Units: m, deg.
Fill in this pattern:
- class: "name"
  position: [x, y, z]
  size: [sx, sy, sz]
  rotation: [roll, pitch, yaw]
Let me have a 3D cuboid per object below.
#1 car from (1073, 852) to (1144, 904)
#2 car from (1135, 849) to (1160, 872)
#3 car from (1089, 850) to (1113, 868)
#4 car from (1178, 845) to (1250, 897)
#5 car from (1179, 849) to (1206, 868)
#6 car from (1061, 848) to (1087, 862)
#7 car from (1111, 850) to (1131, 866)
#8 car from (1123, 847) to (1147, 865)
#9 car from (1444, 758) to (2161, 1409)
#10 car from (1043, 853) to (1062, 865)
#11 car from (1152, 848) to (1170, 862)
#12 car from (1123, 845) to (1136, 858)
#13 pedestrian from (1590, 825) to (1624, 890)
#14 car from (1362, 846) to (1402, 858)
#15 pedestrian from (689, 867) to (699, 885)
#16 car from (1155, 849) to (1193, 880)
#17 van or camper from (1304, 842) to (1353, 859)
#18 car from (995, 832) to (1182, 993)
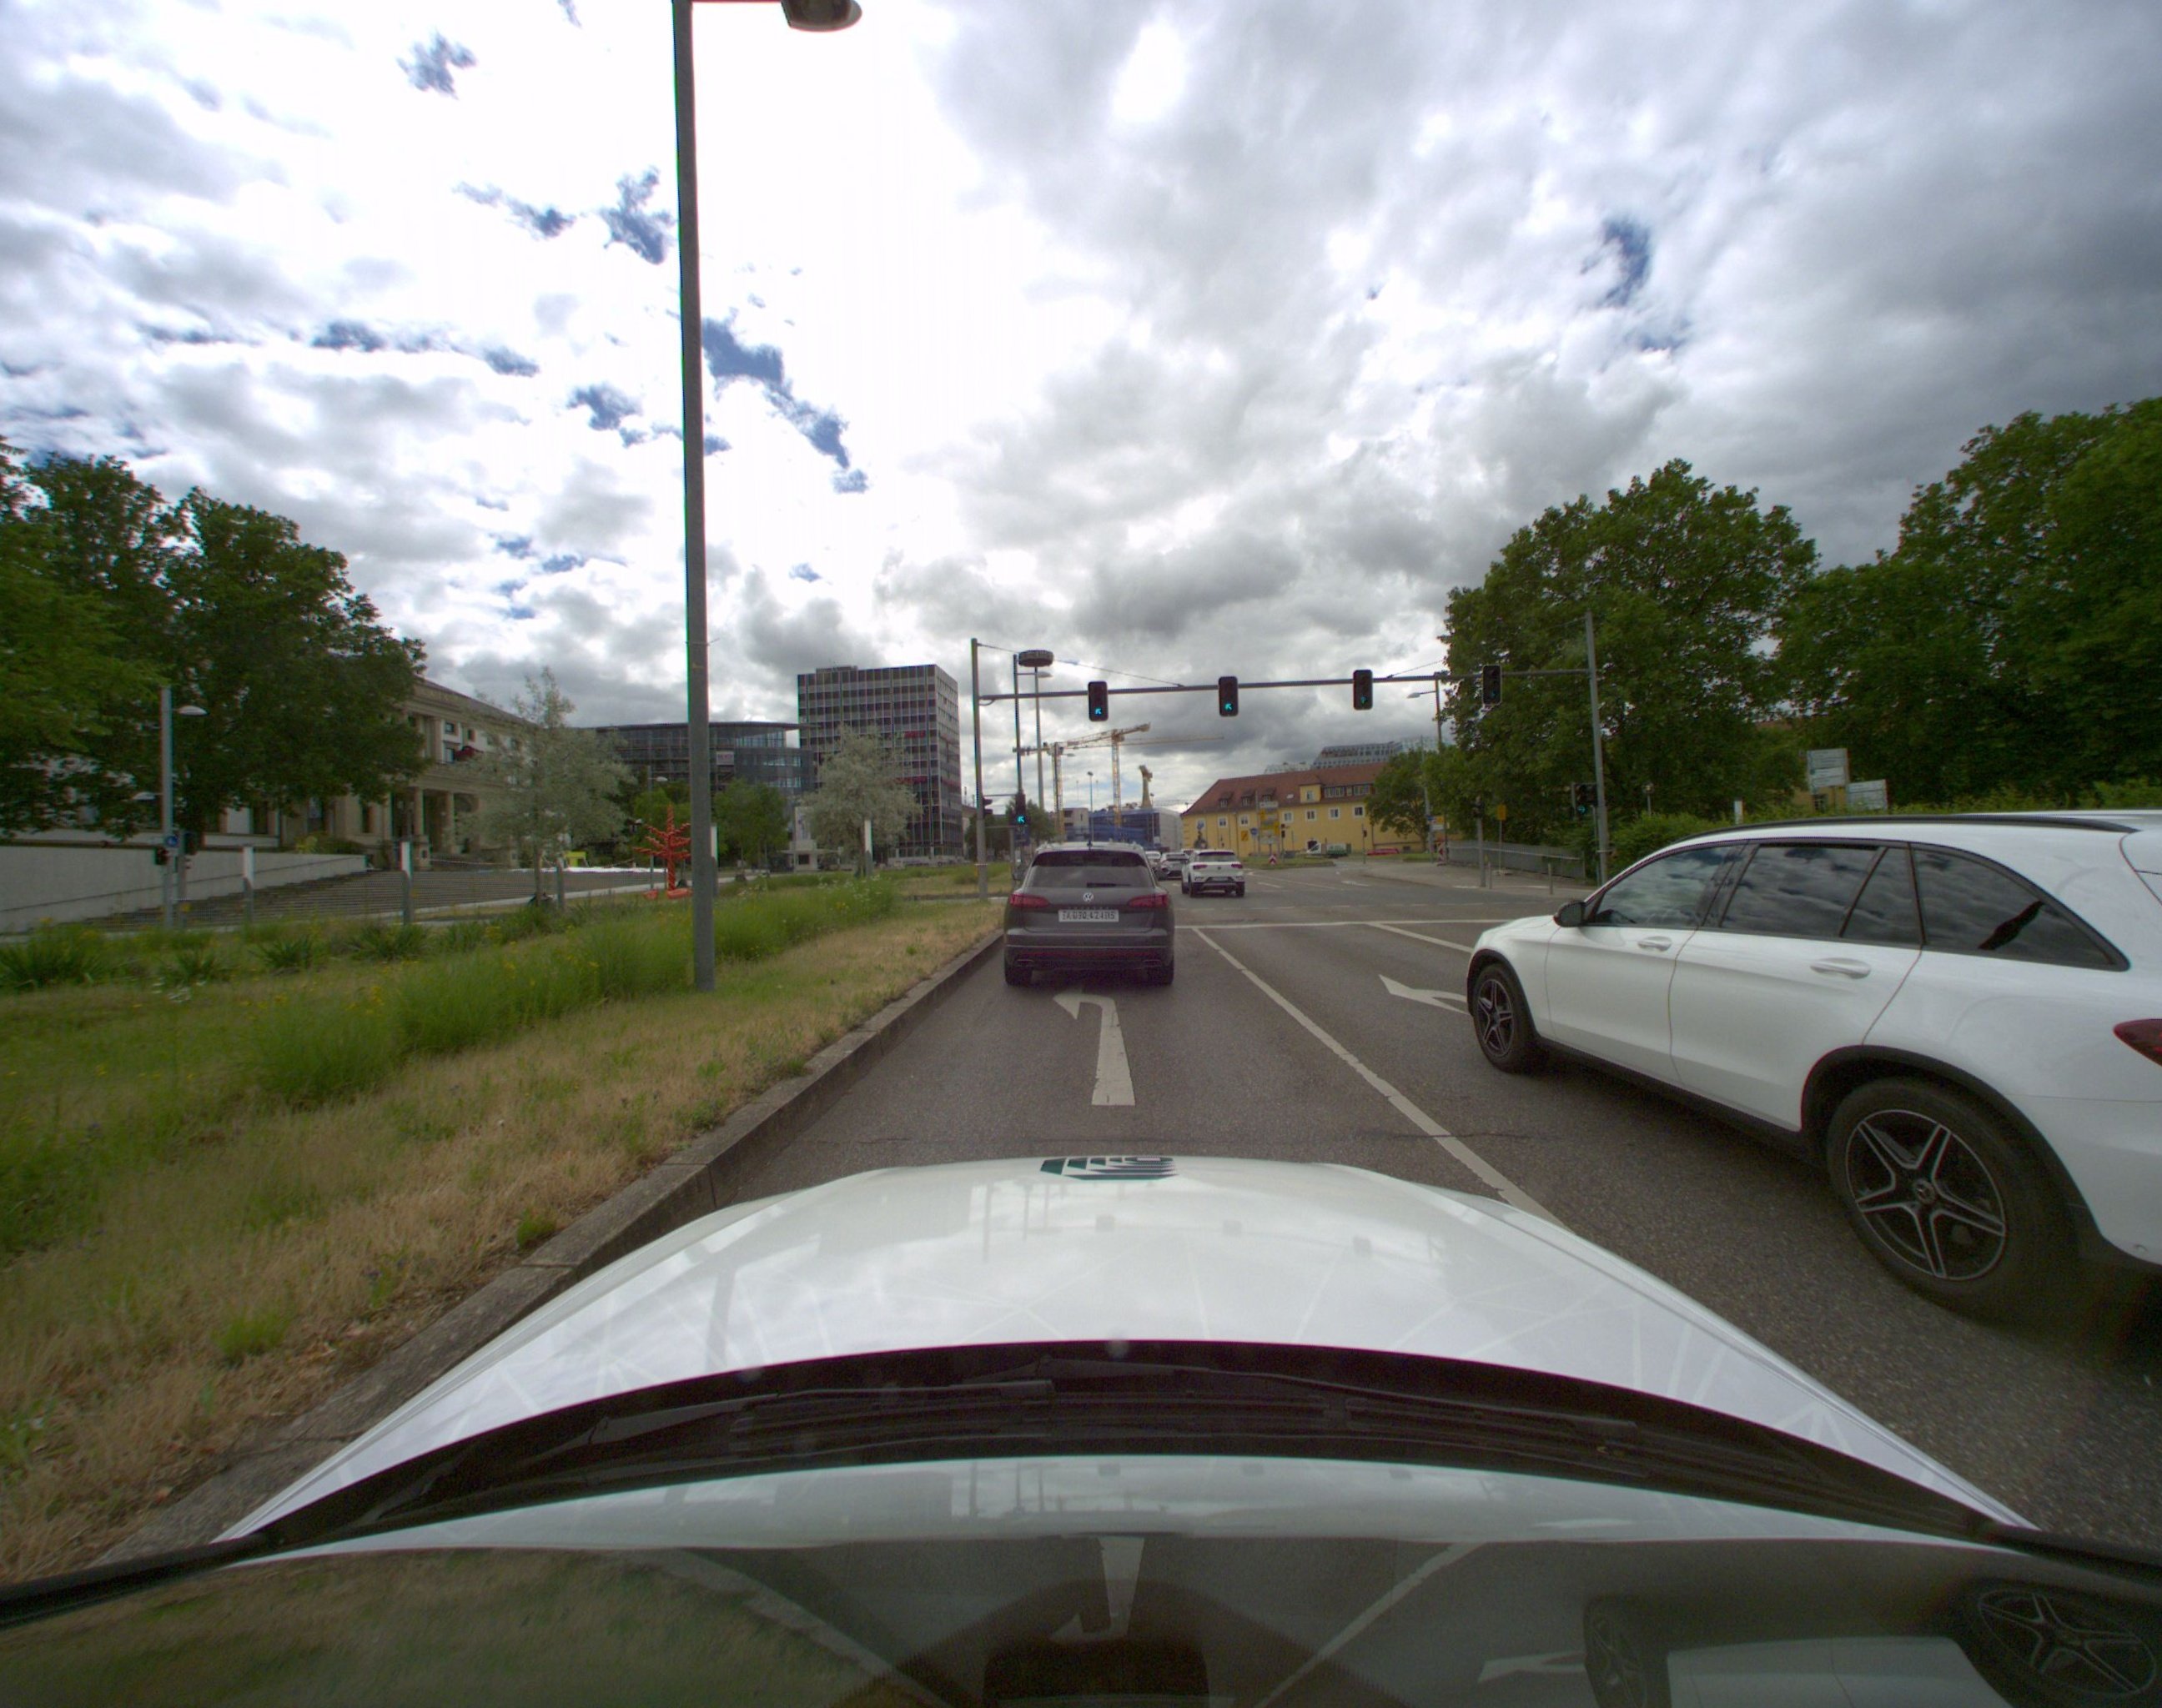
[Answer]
- class: "car"
  position: [0.845, 0.677, 25.120]
  size: [1.986, 1.387, 4.002]
  rotation: [-2, 1, 2]
- class: "car"
  position: [4.735, 0.436, 57.760]
  size: [1.711, 1.502, 3.987]
  rotation: [-1, 0, 5]
- class: "car"
  position: [1.692, 0.397, 69.829]
  size: [1.810, 1.496, 3.903]
  rotation: [-2, 0, -2]
- class: "car"
  position: [4.424, 0.533, 27.553]
  size: [1.886, 1.585, 3.802]
  rotation: [-1, 0, 2]
- class: "car"
  position: [8.997, 0.338, 66.079]
  size: [1.795, 1.502, 3.984]
  rotation: [-1, 0, 3]
- class: "car"
  position: [-0.818, 0.097, 95.319]
  size: [2.245, 1.502, 4.595]
  rotation: [-2, 0, -10]
- class: "car"
  position: [4.663, 0.505, 95.045]
  size: [2.131, 1.728, 4.071]
  rotation: [-2, 0, 1]
- class: "car"
  position: [4.972, 0.170, 75.486]
  size: [1.809, 1.496, 3.905]
  rotation: [-4, 0, 0]
- class: "car"
  position: [3.659, 0.548, 4.035]
  size: [1.812, 1.647, 4.380]
  rotation: [-1, 0, 1]
- class: "car"
  position: [-3.766, 0.677, 106.384]
  size: [1.720, 1.502, 3.964]
  rotation: [-1, 0, -13]
- class: "car"
  position: [8.846, 0.121, 90.422]
  size: [1.712, 1.502, 3.984]
  rotation: [-1, 0, 3]
- class: "car"
  position: [8.015, -0.406, 135.330]
  size: [1.986, 2.013, 4.002]
  rotation: [-2, 0, 2]
- class: "pedestrian"
  position: [14.521, 0.098, 22.503]
  size: [0.477, 1.764, 0.620]
  rotation: [-1, 0, -1]
- class: "car"
  position: [39.025, -0.256, 105.658]
  size: [4.632, 1.420, 1.607]
  rotation: [-2, -1, 33]
- class: "pedestrian"
  position: [-34.252, 1.940, 72.115]
  size: [0.522, 1.649, 0.650]
  rotation: [-1, -1, 0]
- class: "car"
  position: [4.914, 0.514, 43.280]
  size: [1.712, 1.502, 4.147]
  rotation: [-1, 0, 3]
- class: "van or camper"
  position: [33.326, -0.481, 109.745]
  size: [5.946, 2.014, 2.032]
  rotation: [-2, -1, 37]
- class: "car"
  position: [0.139, 0.608, 10.568]
  size: [1.926, 1.647, 4.002]
  rotation: [-1, 0, 2]
